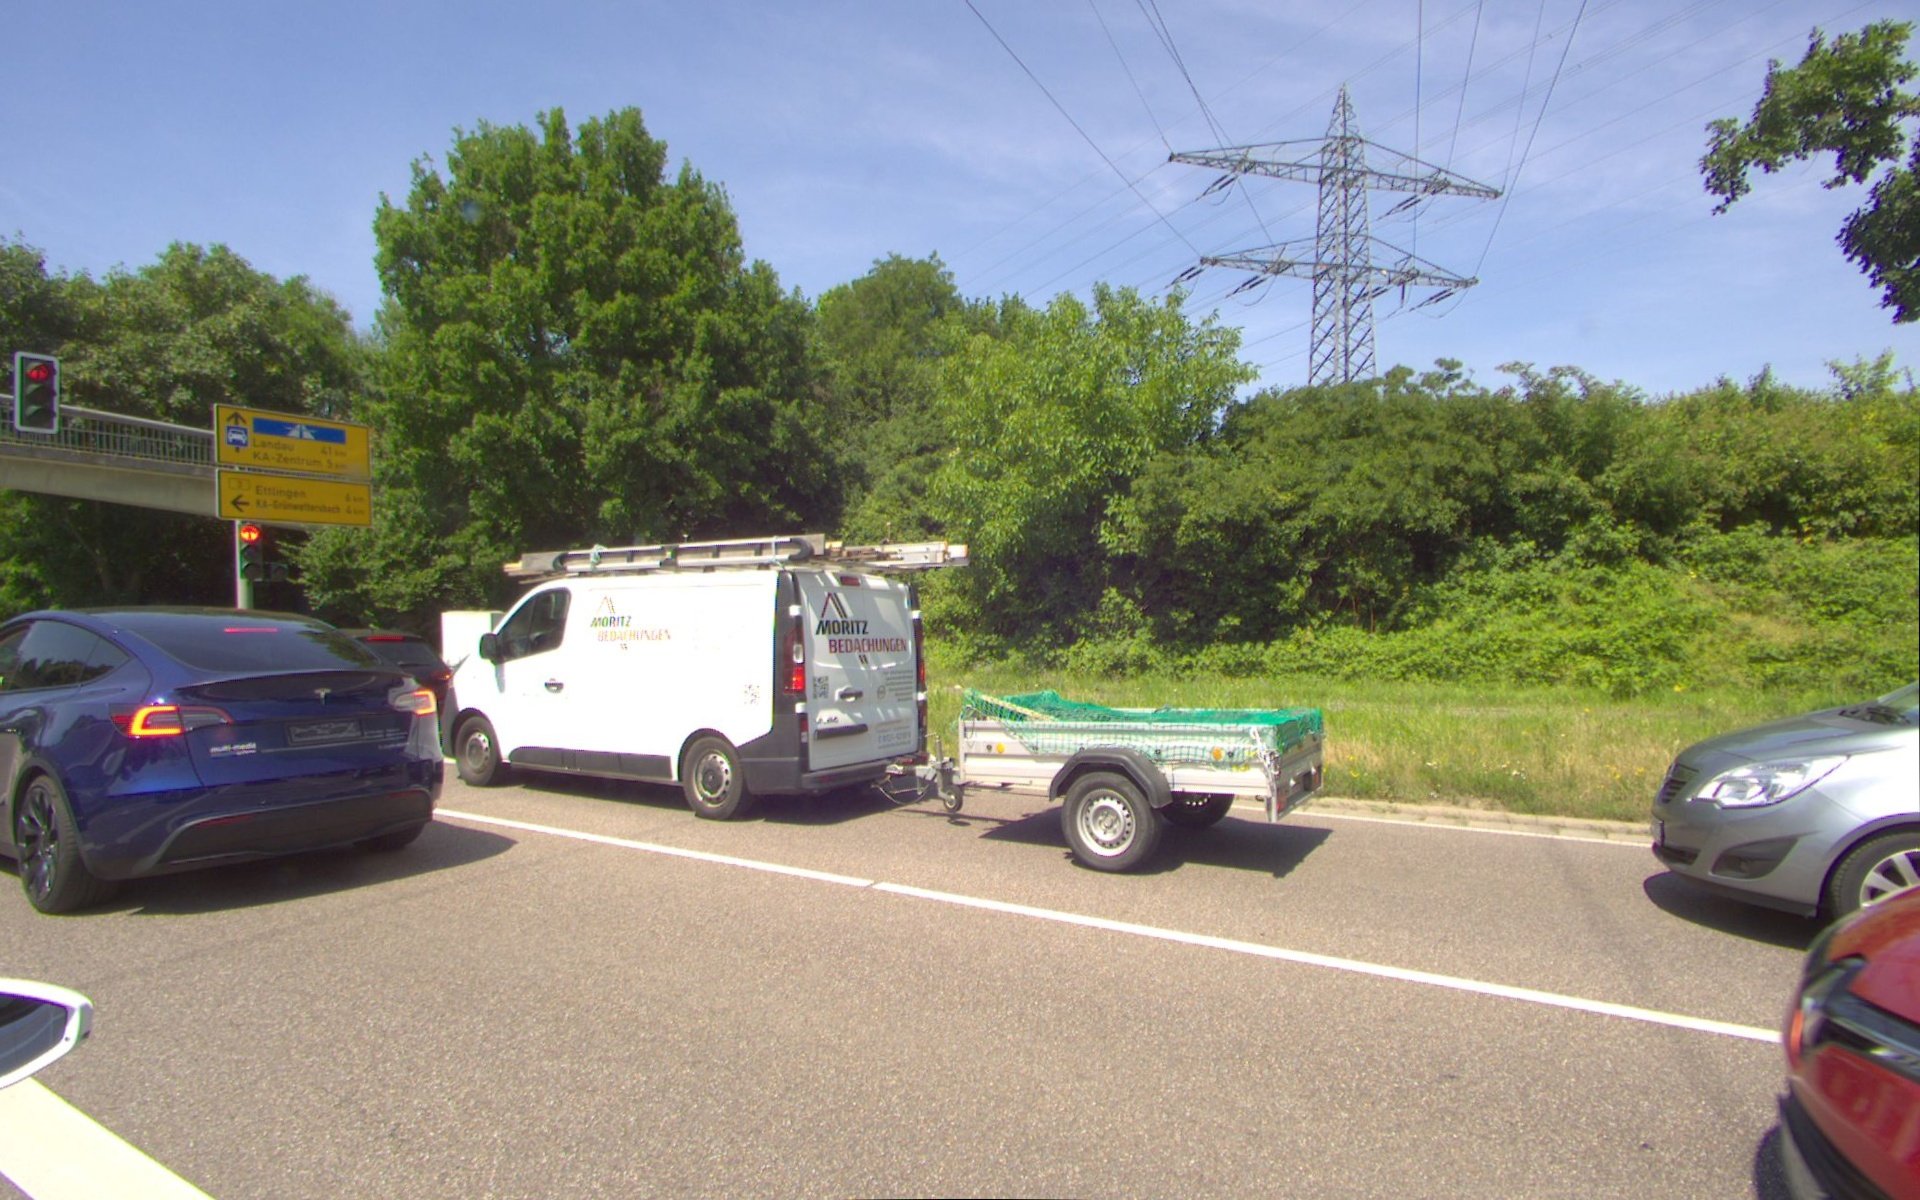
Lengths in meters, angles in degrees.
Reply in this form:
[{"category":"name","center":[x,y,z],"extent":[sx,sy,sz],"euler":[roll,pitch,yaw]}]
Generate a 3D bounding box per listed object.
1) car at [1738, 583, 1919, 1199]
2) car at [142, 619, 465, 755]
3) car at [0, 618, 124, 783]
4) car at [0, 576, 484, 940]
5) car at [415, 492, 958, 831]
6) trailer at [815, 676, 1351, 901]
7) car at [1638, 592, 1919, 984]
[{"category":"car","center":[3.579,0.716,1.196],"extent":[4.007,1.480,1.740],"euler":[-1,-2,32]},{"category":"car","center":[-8.588,1.007,13.015],"extent":[4.318,1.497,1.897],"euler":[-1,-2,32]},{"category":"car","center":[-10.363,0.930,10.080],"extent":[3.882,1.497,1.897],"euler":[-1,-2,32]},{"category":"car","center":[-5.332,0.772,6.594],"extent":[4.455,1.665,1.897],"euler":[-1,-1,32]},{"category":"car","center":[-2.639,0.487,9.172],"extent":[5.002,2.379,1.929],"euler":[-1,-1,32]},{"category":"trailer","center":[0.809,1.117,6.902],"extent":[3.276,1.019,1.703],"euler":[-1,-1,32]},{"category":"car","center":[5.405,0.771,4.255],"extent":[4.105,1.616,1.761],"euler":[-1,0,32]}]
